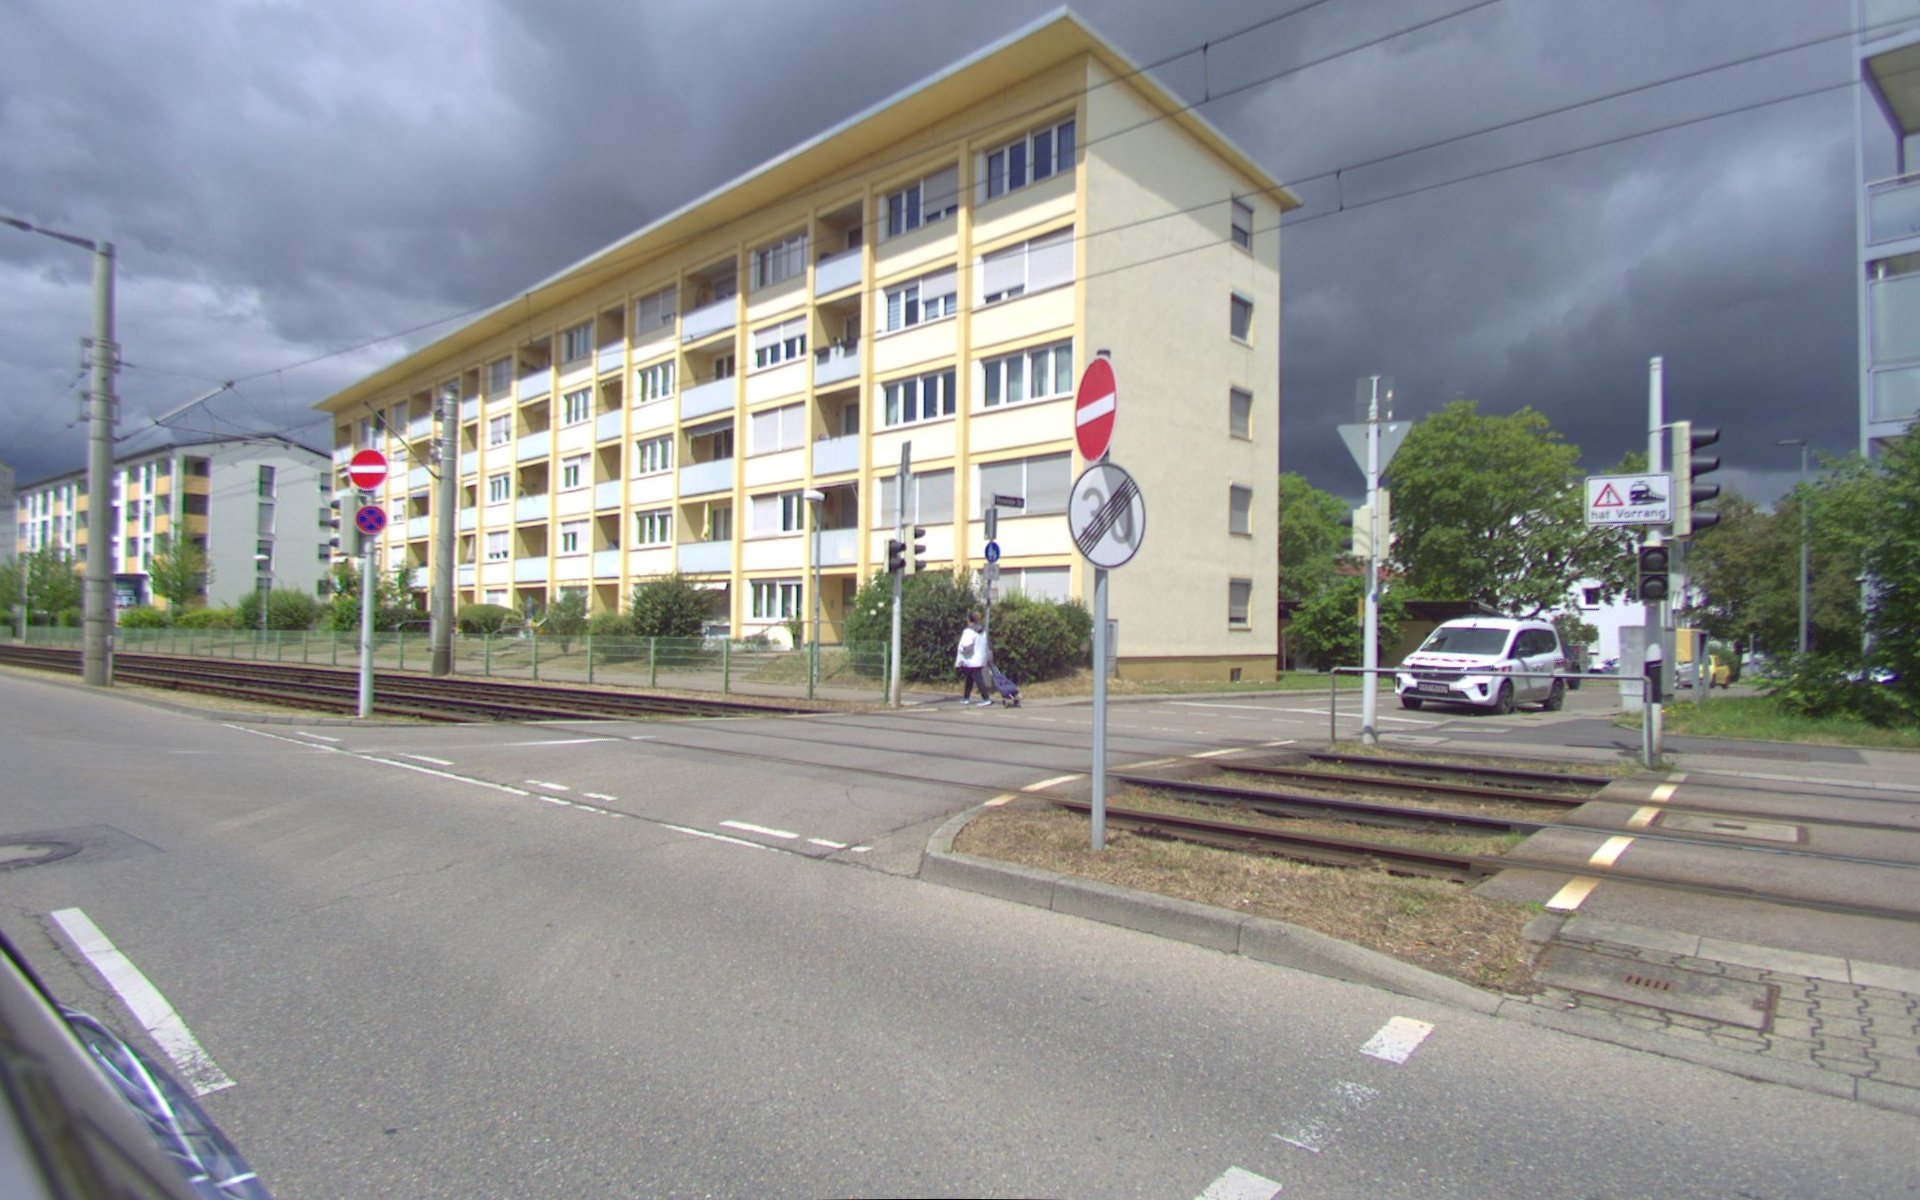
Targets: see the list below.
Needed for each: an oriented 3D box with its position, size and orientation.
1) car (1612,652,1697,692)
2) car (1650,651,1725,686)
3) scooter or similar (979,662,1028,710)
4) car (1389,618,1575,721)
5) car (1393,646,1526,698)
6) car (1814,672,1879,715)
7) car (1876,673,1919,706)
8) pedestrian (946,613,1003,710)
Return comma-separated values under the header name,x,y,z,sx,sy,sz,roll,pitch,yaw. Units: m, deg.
name,x,y,z,sx,sy,sz,roll,pitch,yaw
car,26.549,2.700,38.624,3.940,1.304,1.923,1,-2,-44
car,31.004,2.863,43.096,3.940,1.304,1.923,1,-2,-44
scooter or similar,0.754,1.476,17.490,0.665,0.779,0.527,-1,-3,40
car,10.046,1.232,19.339,4.226,1.742,1.812,1,-2,-43
car,13.271,1.855,26.802,3.940,1.180,1.923,1,-2,-44
car,46.053,4.805,52.576,3.937,2.029,2.003,4,-3,-40
car,55.276,5.216,59.195,3.937,1.790,2.003,3,-3,-41
pedestrian,0.250,1.050,17.452,0.773,1.620,0.598,-1,-3,40
